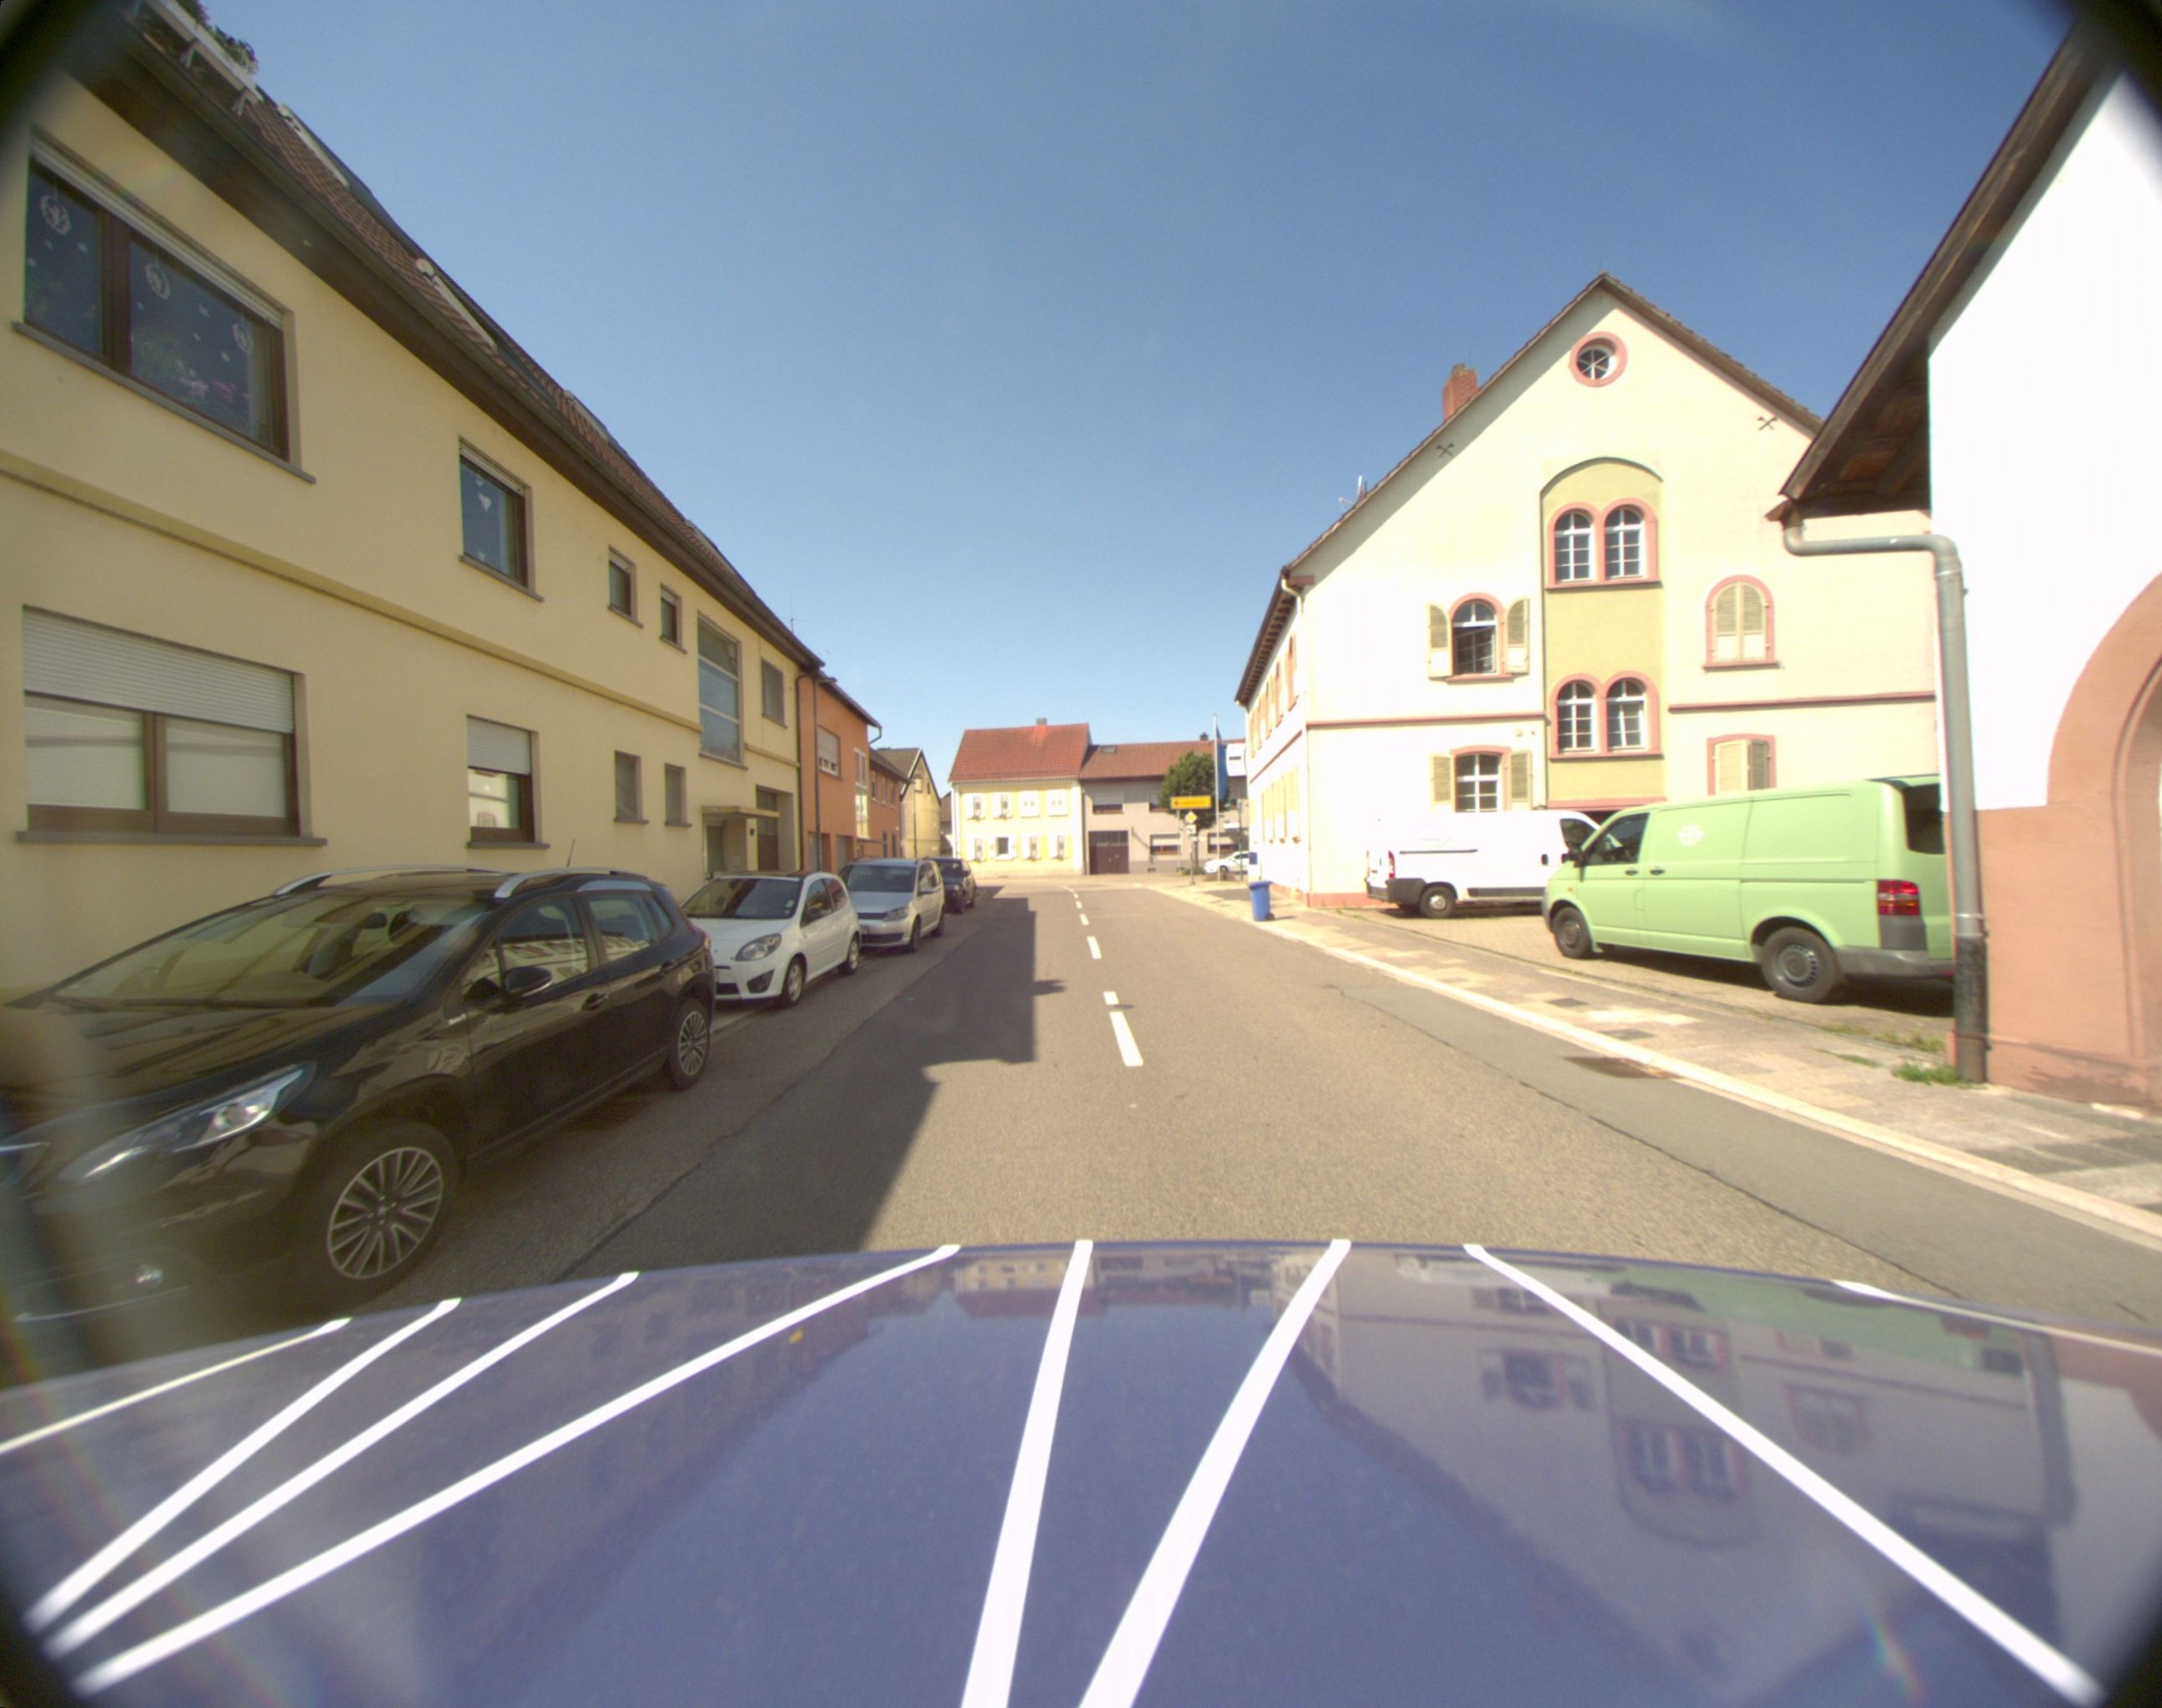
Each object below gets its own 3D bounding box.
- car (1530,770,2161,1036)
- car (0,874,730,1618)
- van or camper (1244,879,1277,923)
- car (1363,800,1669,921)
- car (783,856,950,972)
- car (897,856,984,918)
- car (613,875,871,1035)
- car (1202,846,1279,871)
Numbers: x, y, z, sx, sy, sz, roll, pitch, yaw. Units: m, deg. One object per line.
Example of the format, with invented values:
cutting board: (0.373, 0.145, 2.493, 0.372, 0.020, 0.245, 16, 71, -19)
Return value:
car: (7.197, 0.363, 8.097, 1.999, 1.953, 4.668, -2, 0, -1)
car: (-3.427, 0.964, 3.690, 1.703, 1.574, 4.026, -1, 0, -3)
van or camper: (4.066, 1.055, 17.230, 0.590, 0.946, 0.600, -3, 1, 4)
car: (9.018, 0.146, 16.247, 5.185, 2.184, 2.124, -3, 0, 8)
car: (-3.761, 0.957, 14.145, 1.903, 1.718, 4.248, -3, 0, -1)
car: (-4.356, 0.959, 24.359, 1.849, 1.693, 5.179, -1, 0, -1)
car: (-3.871, 1.056, 9.390, 1.555, 1.430, 3.720, -1, 0, -1)
car: (10.383, 0.284, 49.555, 4.511, 1.432, 1.854, -2, 0, -5)
